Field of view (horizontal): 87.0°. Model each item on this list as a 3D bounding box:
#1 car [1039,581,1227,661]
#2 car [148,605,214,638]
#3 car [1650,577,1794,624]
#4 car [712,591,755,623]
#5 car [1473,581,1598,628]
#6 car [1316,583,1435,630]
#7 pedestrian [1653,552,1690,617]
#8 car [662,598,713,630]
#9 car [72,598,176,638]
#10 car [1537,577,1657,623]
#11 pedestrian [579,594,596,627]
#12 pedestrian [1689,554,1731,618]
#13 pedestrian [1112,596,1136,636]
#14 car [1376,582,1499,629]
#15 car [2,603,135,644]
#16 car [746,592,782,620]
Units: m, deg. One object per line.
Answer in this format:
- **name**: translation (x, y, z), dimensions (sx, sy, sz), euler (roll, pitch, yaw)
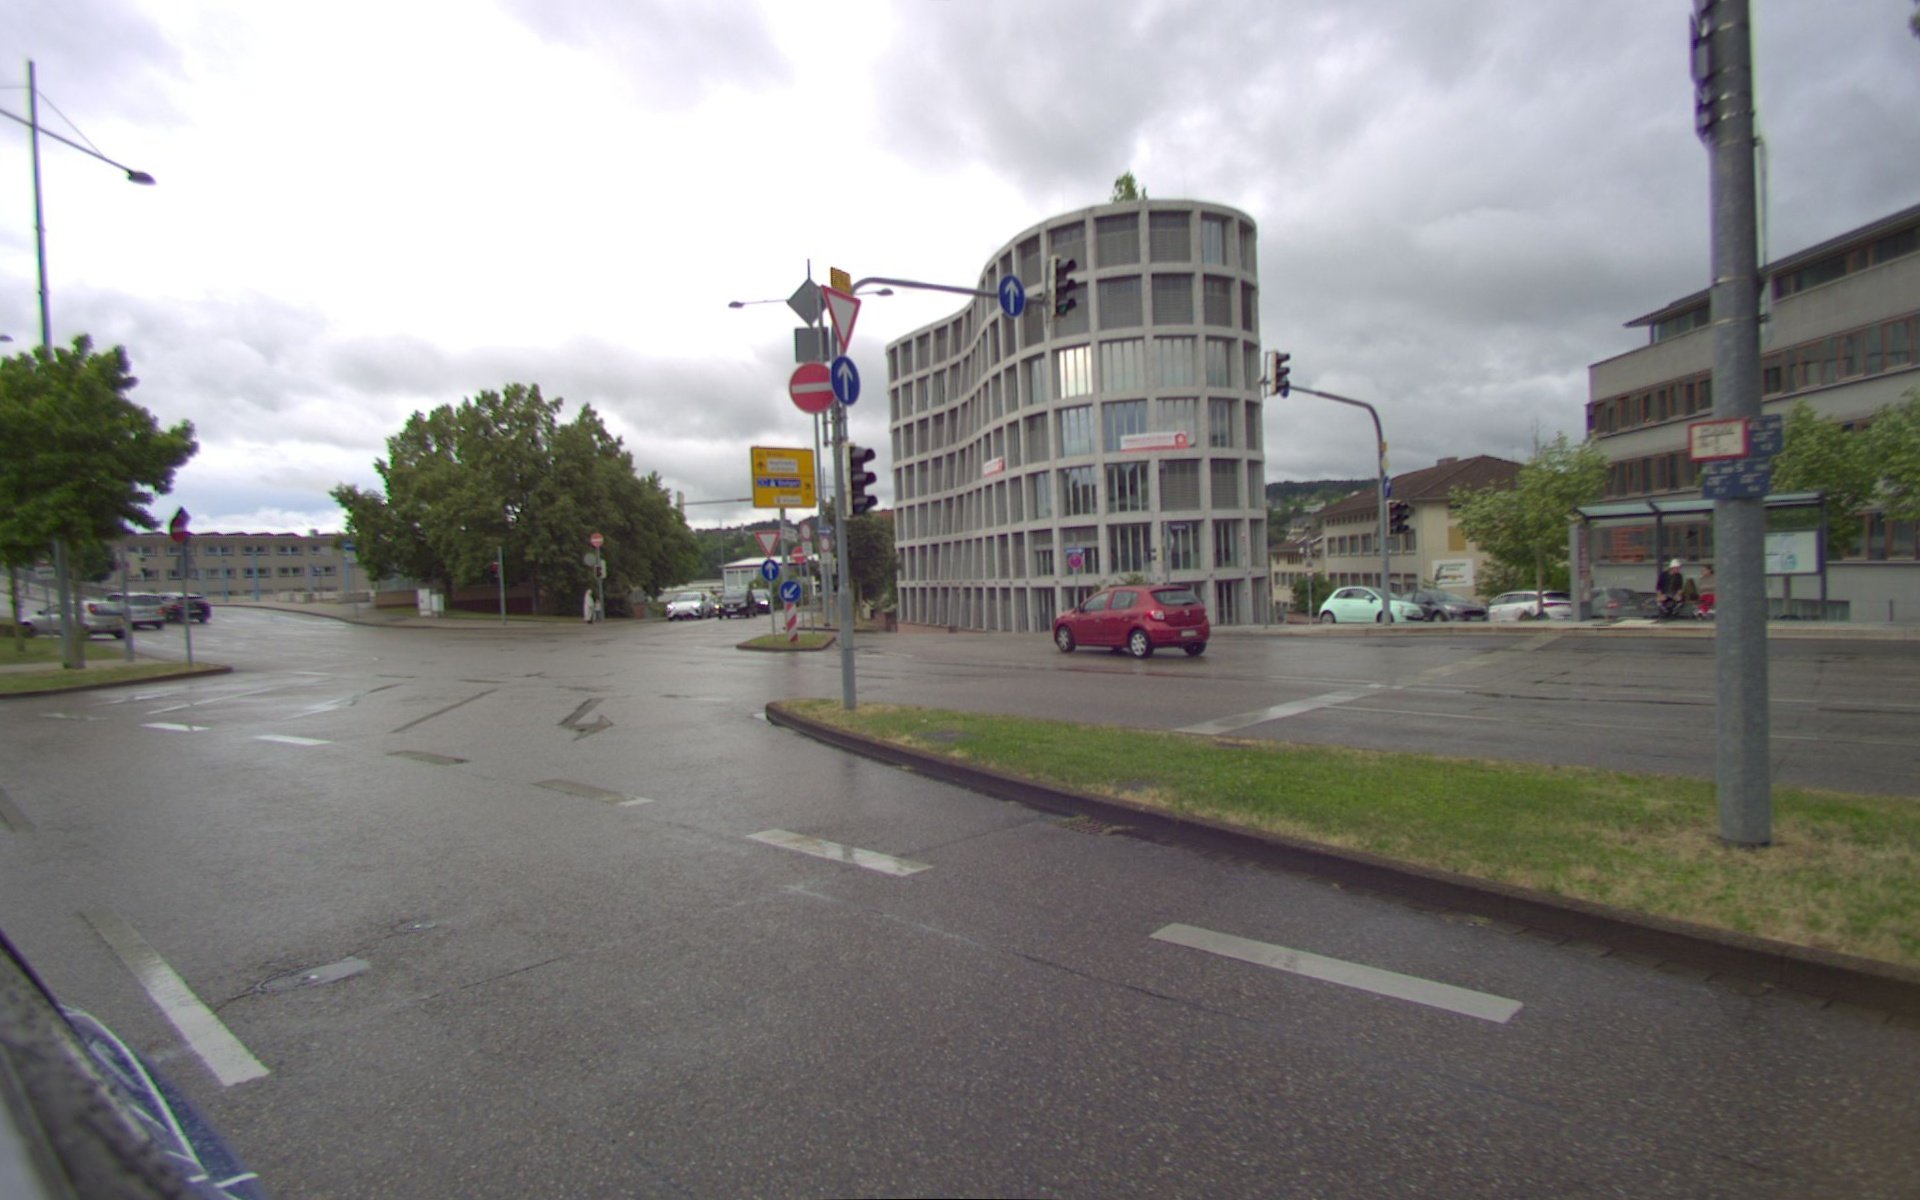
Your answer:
- **car**: translation (3.692, 0.426, 22.228), dimensions (1.798, 1.563, 4.044), euler (-2, 0, -32)
- **car**: translation (-39.205, 1.071, 50.875), dimensions (4.919, 1.515, 1.827), euler (-1, 1, 43)
- **car**: translation (26.191, 0.021, 34.897), dimensions (1.605, 1.507, 3.593), euler (-2, 1, -30)
- **car**: translation (-11.838, 0.340, 53.123), dimensions (1.701, 1.579, 3.843), euler (-2, 1, -6)
- **car**: translation (20.090, 0.130, 35.509), dimensions (1.737, 1.507, 3.796), euler (-2, 1, -10)
- **car**: translation (14.554, 0.219, 35.602), dimensions (1.605, 1.507, 3.592), euler (-2, 1, -33)
- **pedestrian**: translation (16.434, -0.352, 23.379), dimensions (0.625, 1.480, 0.671), euler (-1, 1, 40)
- **car**: translation (-14.648, 0.717, 54.523), dimensions (1.859, 1.579, 4.145), euler (-2, 1, -4)
- **car**: translation (-37.562, 0.803, 45.455), dimensions (4.392, 1.665, 1.838), euler (-1, 1, 24)
- **car**: translation (22.647, 0.000, 36.132), dimensions (1.606, 1.507, 3.590), euler (-2, 1, -10)
- **pedestrian**: translation (-17.801, 0.493, 48.358), dimensions (0.642, 1.582, 0.633), euler (0, 1, -34)
- **pedestrian**: translation (16.933, -0.314, 22.843), dimensions (0.720, 1.402, 0.671), euler (-1, 1, 40)
- **pedestrian**: translation (6.741, 0.659, 41.634), dimensions (0.704, 1.595, 0.664), euler (0, 2, 40)
- **car**: translation (16.744, 0.187, 35.653), dimensions (1.605, 1.507, 3.592), euler (-2, 1, -33)
- **car**: translation (-33.295, 0.872, 37.837), dimensions (3.831, 1.459, 1.633), euler (0, 1, 8)
- **car**: translation (-11.557, 0.326, 59.867), dimensions (1.701, 1.579, 3.843), euler (-2, 1, -6)
